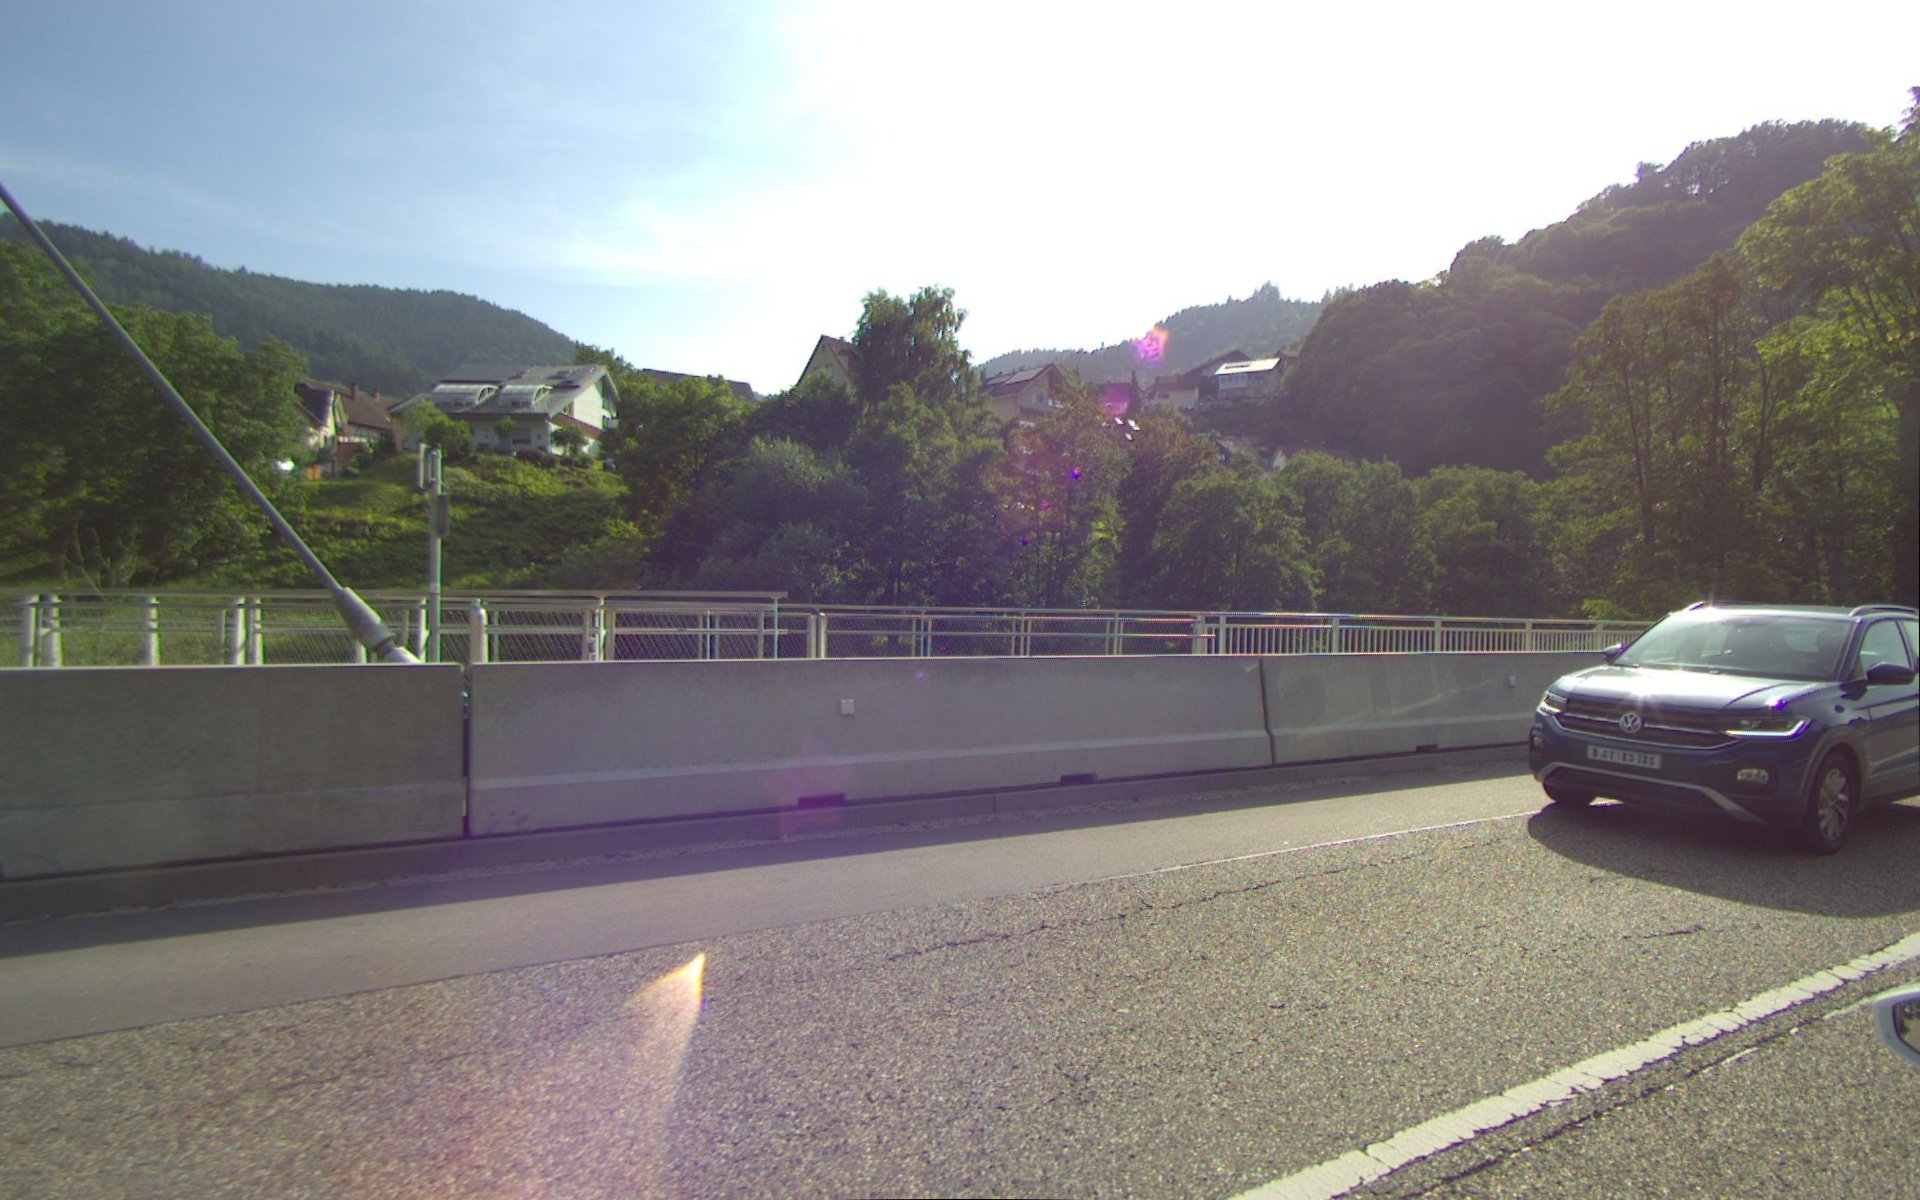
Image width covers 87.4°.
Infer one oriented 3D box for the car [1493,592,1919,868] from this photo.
[{"bbox_3d":[6.214,0.789,7.679,4.281,1.577,1.790,1,1,-30],"label":"car"}]
